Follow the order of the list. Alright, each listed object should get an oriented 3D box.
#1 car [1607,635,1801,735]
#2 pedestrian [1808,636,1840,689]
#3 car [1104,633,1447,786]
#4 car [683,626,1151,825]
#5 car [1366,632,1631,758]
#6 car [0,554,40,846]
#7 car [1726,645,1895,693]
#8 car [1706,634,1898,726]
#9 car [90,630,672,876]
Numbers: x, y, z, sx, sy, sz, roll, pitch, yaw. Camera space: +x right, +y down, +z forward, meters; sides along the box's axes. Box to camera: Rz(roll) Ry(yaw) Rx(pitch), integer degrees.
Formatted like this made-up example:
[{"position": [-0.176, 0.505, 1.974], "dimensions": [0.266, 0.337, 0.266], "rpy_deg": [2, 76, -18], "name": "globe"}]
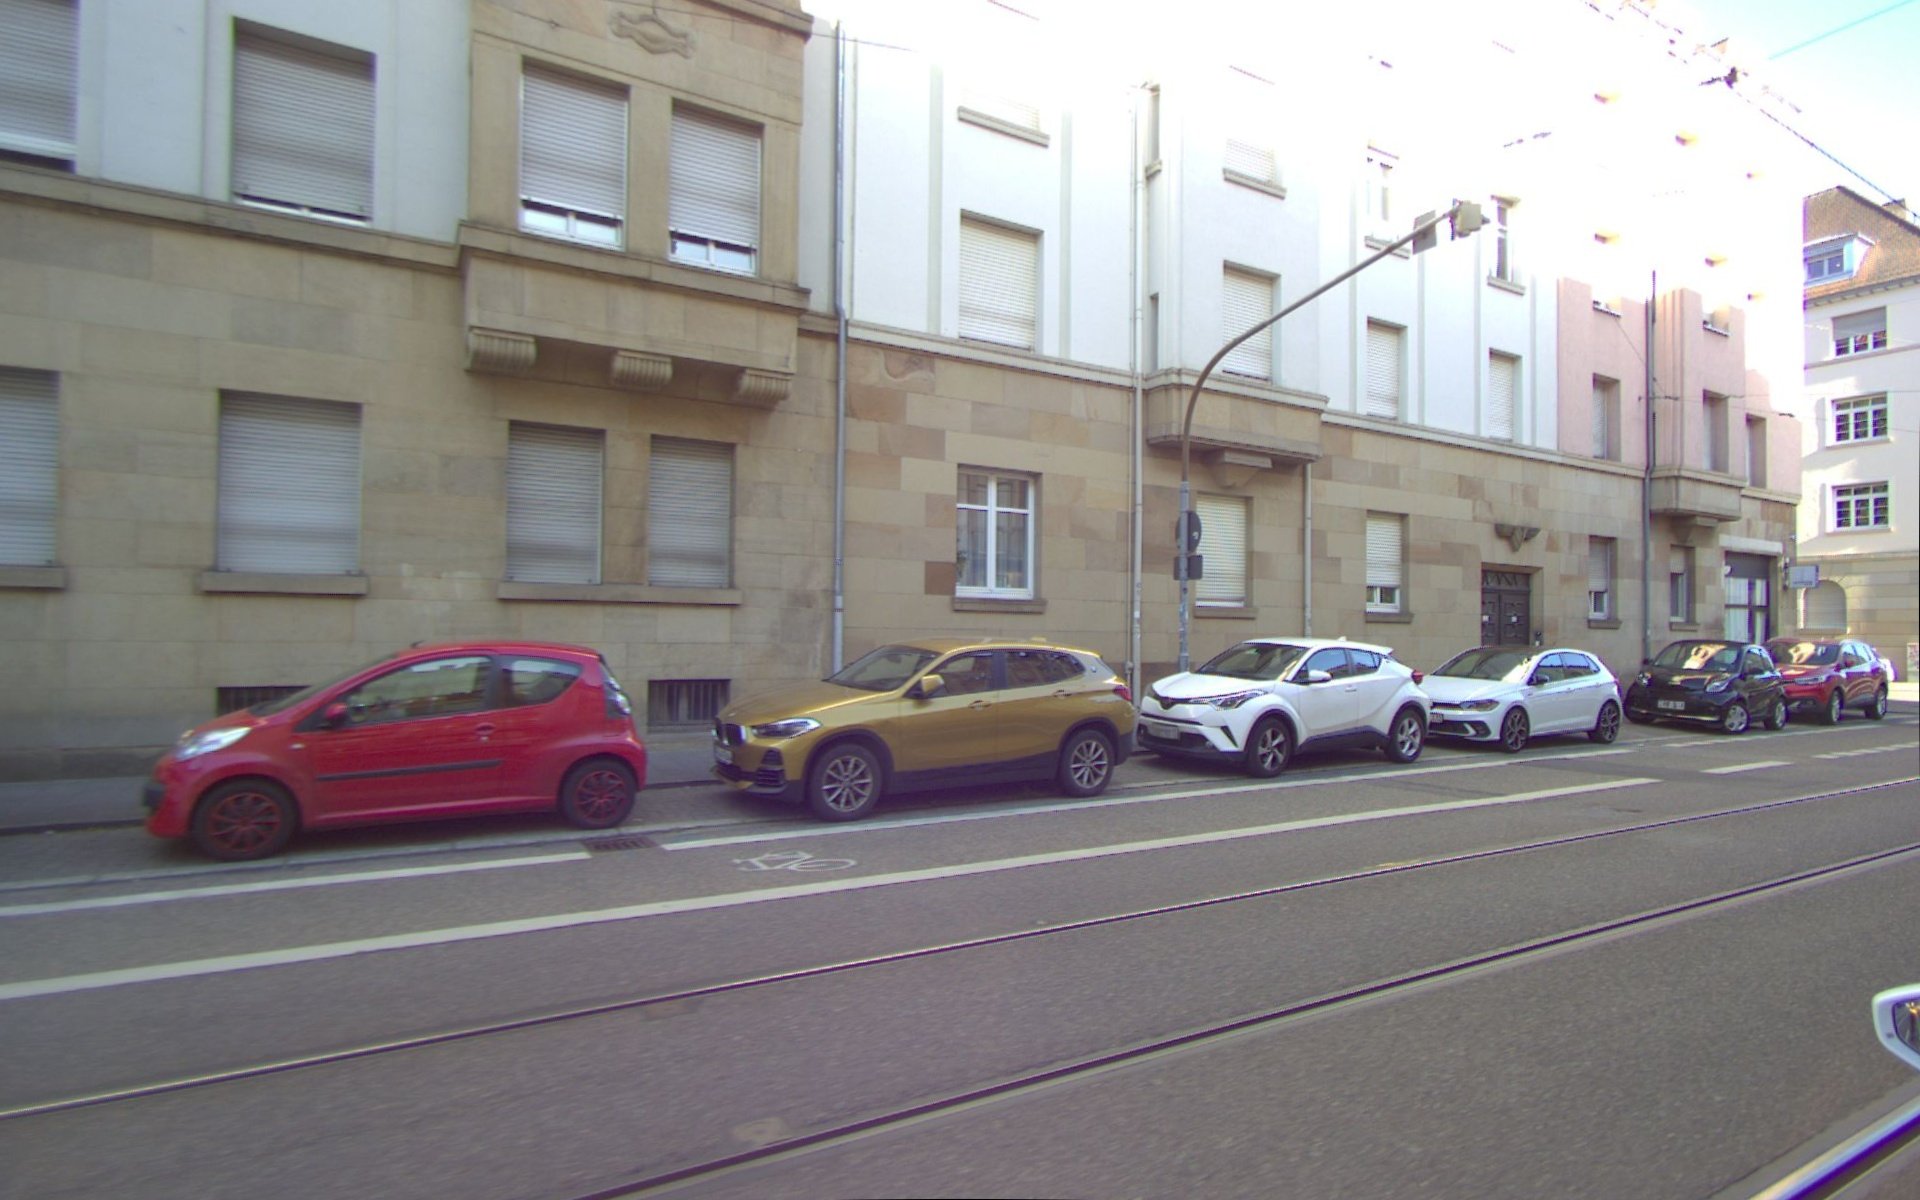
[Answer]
[{"position": [13.450, 1.474, 18.160], "dimensions": [2.984, 1.573, 1.775], "rpy_deg": [2, 0, -30], "name": "car"}, {"position": [29.175, 2.098, 33.924], "dimensions": [0.723, 1.735, 0.604], "rpy_deg": [1, -2, -30], "name": "pedestrian"}, {"position": [4.058, 1.254, 12.683], "dimensions": [4.318, 1.567, 1.762], "rpy_deg": [2, 0, -32], "name": "car"}, {"position": [-0.340, 1.081, 9.945], "dimensions": [4.310, 1.544, 1.774], "rpy_deg": [2, 0, -31], "name": "car"}, {"position": [8.305, 1.360, 15.412], "dimensions": [4.133, 1.643, 1.773], "rpy_deg": [2, 0, -32], "name": "car"}, {"position": [-8.586, 0.612, 5.270], "dimensions": [5.192, 1.975, 1.963], "rpy_deg": [2, 0, -31], "name": "car"}, {"position": [29.885, 2.388, 35.431], "dimensions": [1.761, 1.484, 4.197], "rpy_deg": [0, -1, -30], "name": "car"}, {"position": [17.244, 1.567, 20.522], "dimensions": [4.349, 1.628, 1.773], "rpy_deg": [2, 0, -32], "name": "car"}, {"position": [-4.291, 1.031, 7.921], "dimensions": [3.603, 1.492, 1.595], "rpy_deg": [2, 0, -30], "name": "car"}]
